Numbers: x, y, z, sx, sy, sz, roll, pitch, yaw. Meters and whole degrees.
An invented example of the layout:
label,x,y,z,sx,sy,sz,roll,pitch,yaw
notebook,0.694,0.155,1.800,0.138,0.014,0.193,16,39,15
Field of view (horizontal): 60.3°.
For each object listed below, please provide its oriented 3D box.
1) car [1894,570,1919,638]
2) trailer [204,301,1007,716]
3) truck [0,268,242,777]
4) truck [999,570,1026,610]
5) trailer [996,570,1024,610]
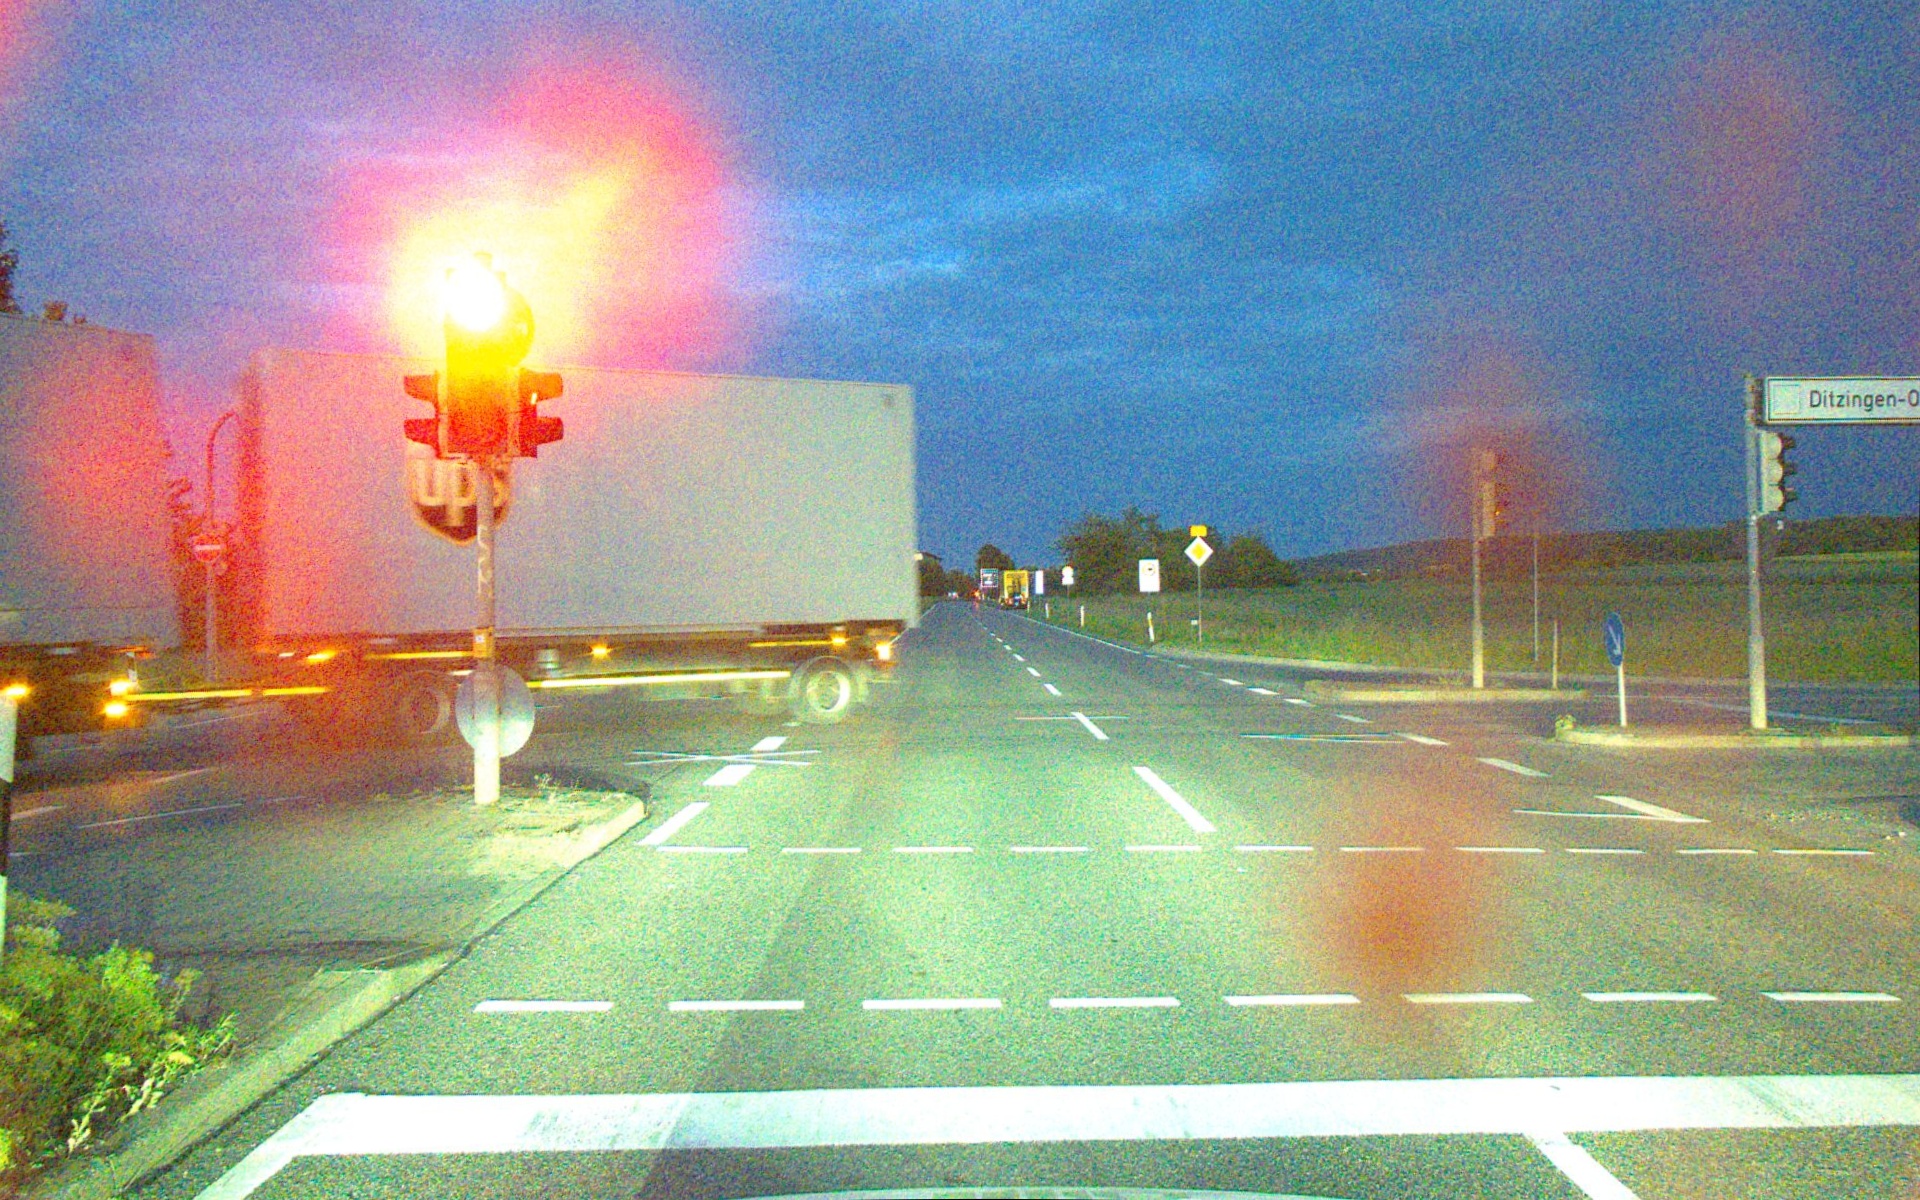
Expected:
label,x,y,z,sx,sy,sz,roll,pitch,yaw
car,25.739,0.052,40.932,4.386,1.693,1.993,-1,0,35
trailer,-3.886,-0.993,19.250,8.749,4.012,2.561,-2,0,-29
truck,-10.244,-0.634,11.703,2.671,4.189,10.339,0,0,25
truck,5.531,-1.110,175.116,2.527,4.142,6.129,1,1,0
trailer,5.409,-1.093,181.316,2.568,4.175,12.936,-1,0,0
